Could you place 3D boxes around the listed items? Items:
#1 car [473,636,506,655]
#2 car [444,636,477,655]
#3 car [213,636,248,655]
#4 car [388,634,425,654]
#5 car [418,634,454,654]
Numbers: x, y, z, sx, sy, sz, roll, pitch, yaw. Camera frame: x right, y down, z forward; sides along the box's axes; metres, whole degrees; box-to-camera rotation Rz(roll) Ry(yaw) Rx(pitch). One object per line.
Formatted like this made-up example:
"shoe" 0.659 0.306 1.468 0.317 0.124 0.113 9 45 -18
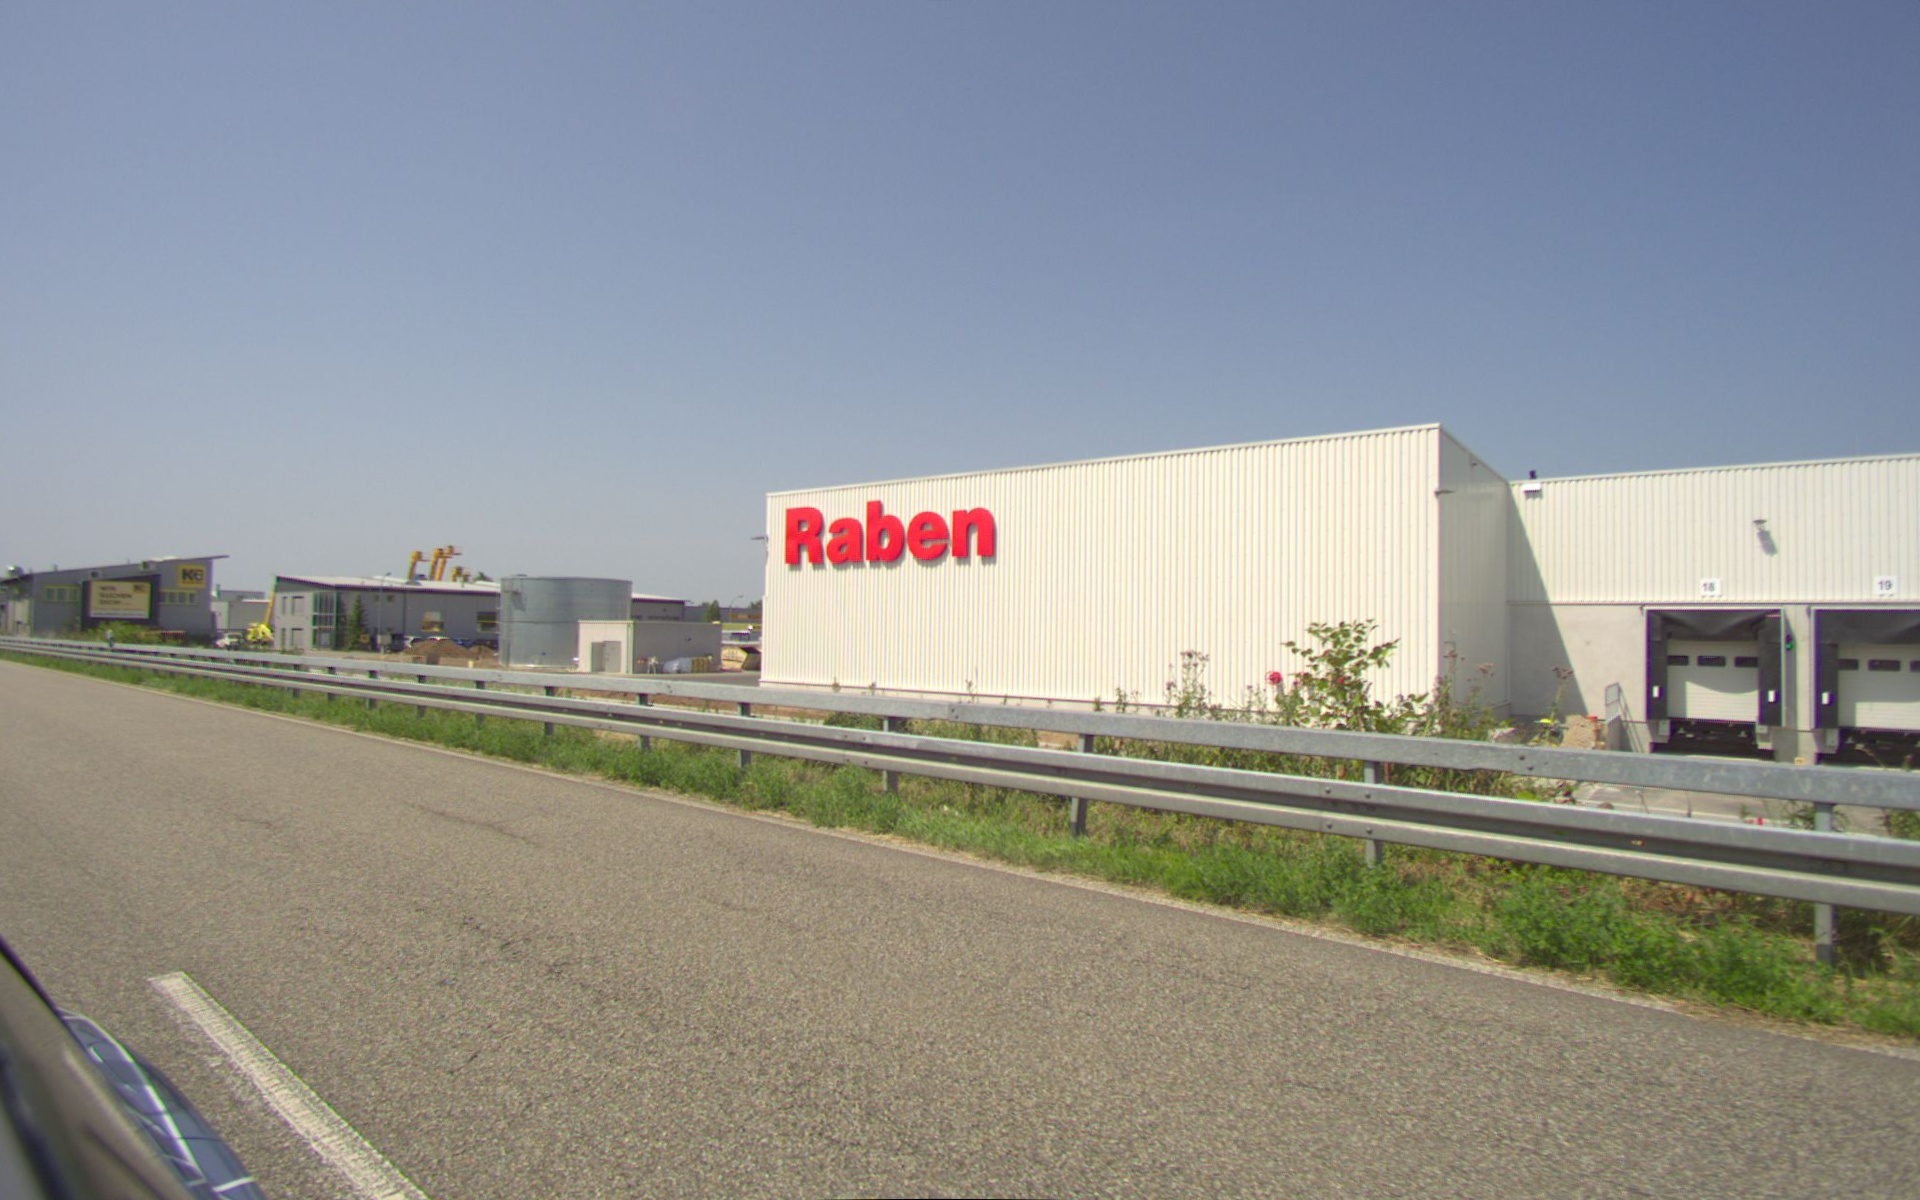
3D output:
"car" -50.954 4.914 109.579 3.688 2.029 1.810 -1 -5 42
"car" -53.164 4.800 107.734 3.688 1.915 1.810 -1 -5 42
"car" -65.658 4.076 91.075 3.306 1.686 1.537 -1 -3 36
"car" -56.460 4.473 103.187 3.997 2.029 1.973 -1 -2 40
"car" -54.631 4.557 105.467 3.997 2.029 1.973 -1 -2 40
